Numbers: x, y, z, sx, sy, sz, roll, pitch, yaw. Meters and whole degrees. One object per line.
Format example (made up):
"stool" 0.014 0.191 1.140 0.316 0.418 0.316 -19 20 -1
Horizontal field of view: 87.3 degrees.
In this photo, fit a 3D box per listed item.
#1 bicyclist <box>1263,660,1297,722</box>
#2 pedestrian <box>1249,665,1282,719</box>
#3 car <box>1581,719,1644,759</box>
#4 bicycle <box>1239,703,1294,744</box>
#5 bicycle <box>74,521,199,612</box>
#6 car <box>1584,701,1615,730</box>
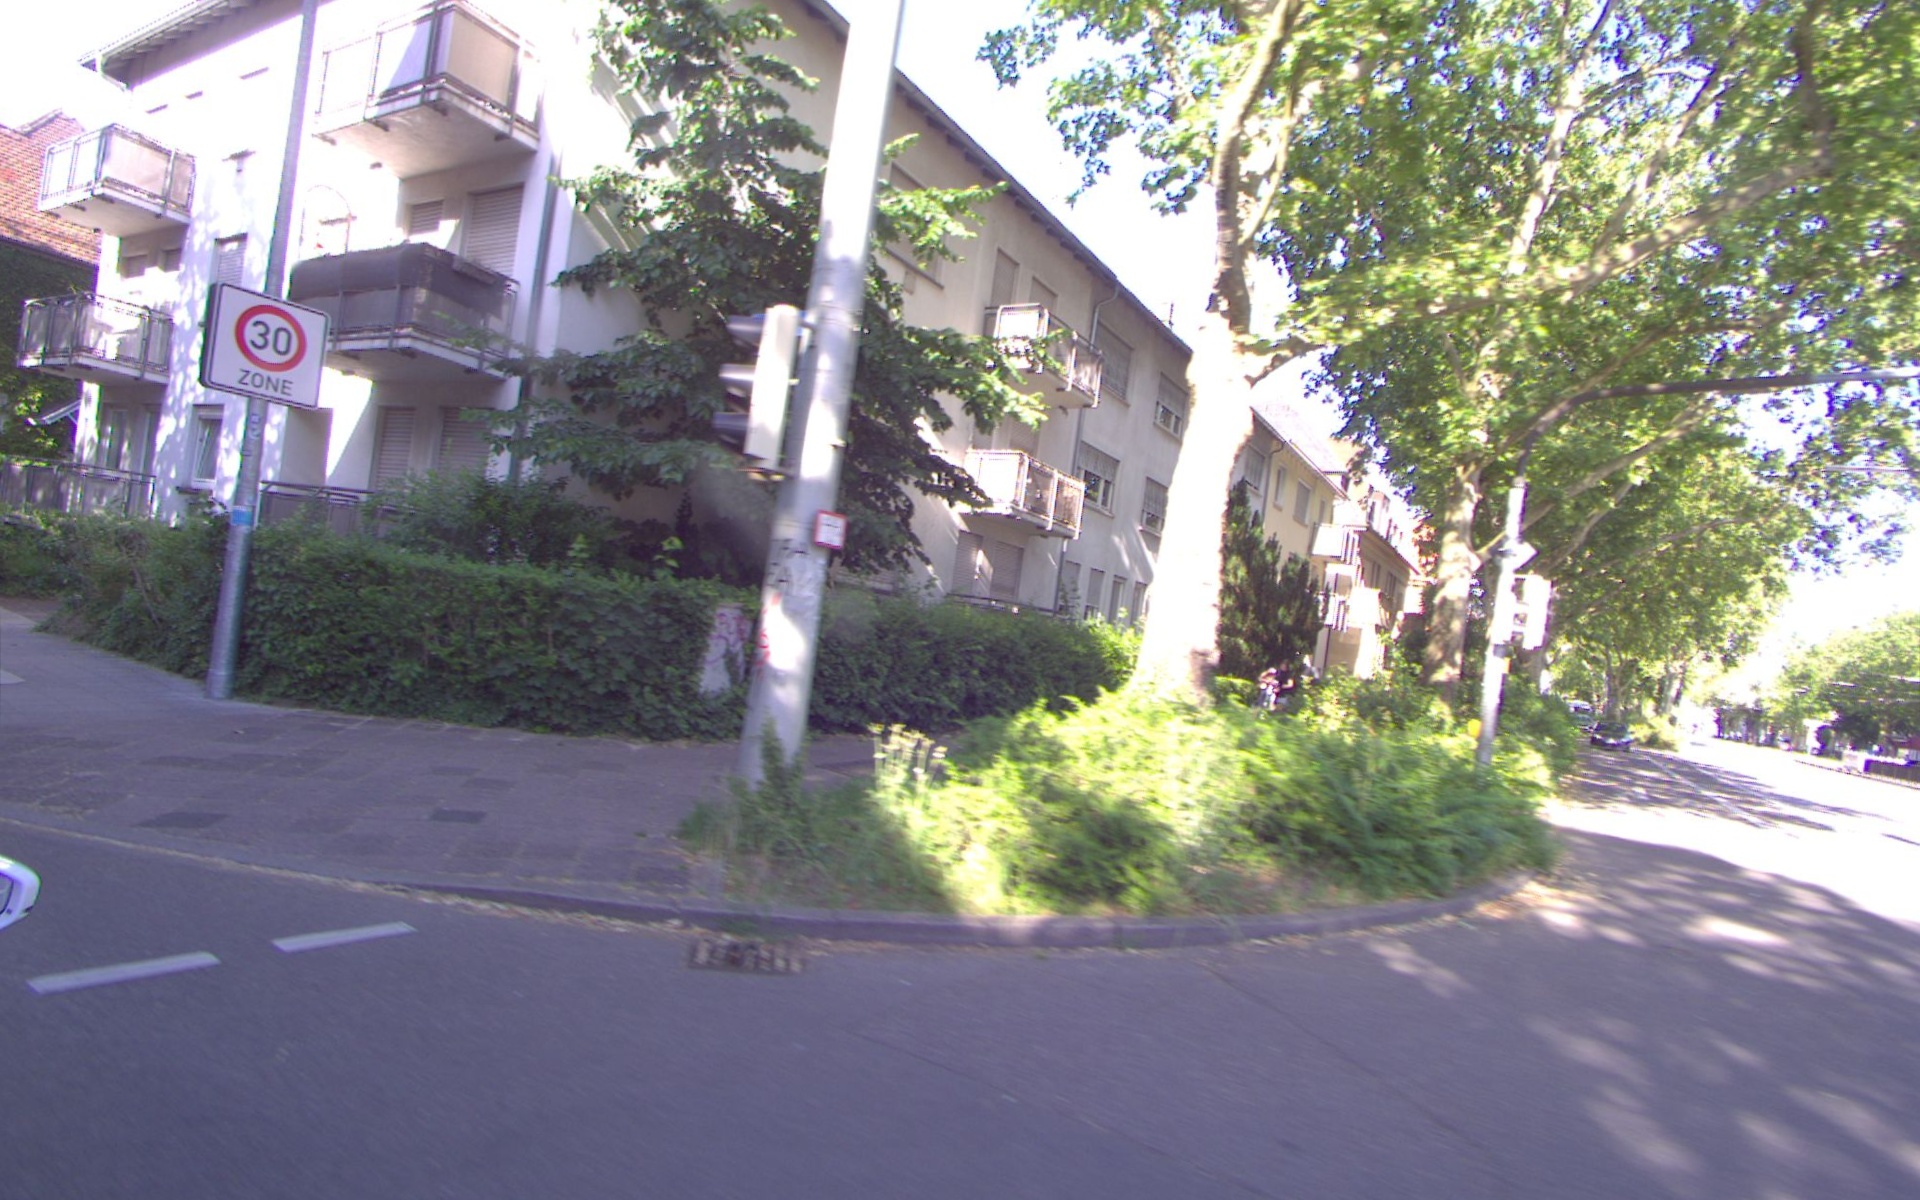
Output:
"bicyclist" 6.493 1.838 20.392 0.350 1.183 0.344 10 -2 -30
"pedestrian" 6.145 1.854 20.241 0.343 1.016 0.351 10 -2 -30
"car" 32.121 6.861 49.485 1.805 1.424 3.872 7 -4 44
"bicycle" 6.175 2.483 20.260 1.055 0.654 0.373 11 -2 -30
"bicycle" -12.014 -0.492 14.736 0.633 1.202 1.575 6 2 -9
"car" 55.969 10.095 88.053 1.967 2.035 3.998 8 -3 32
